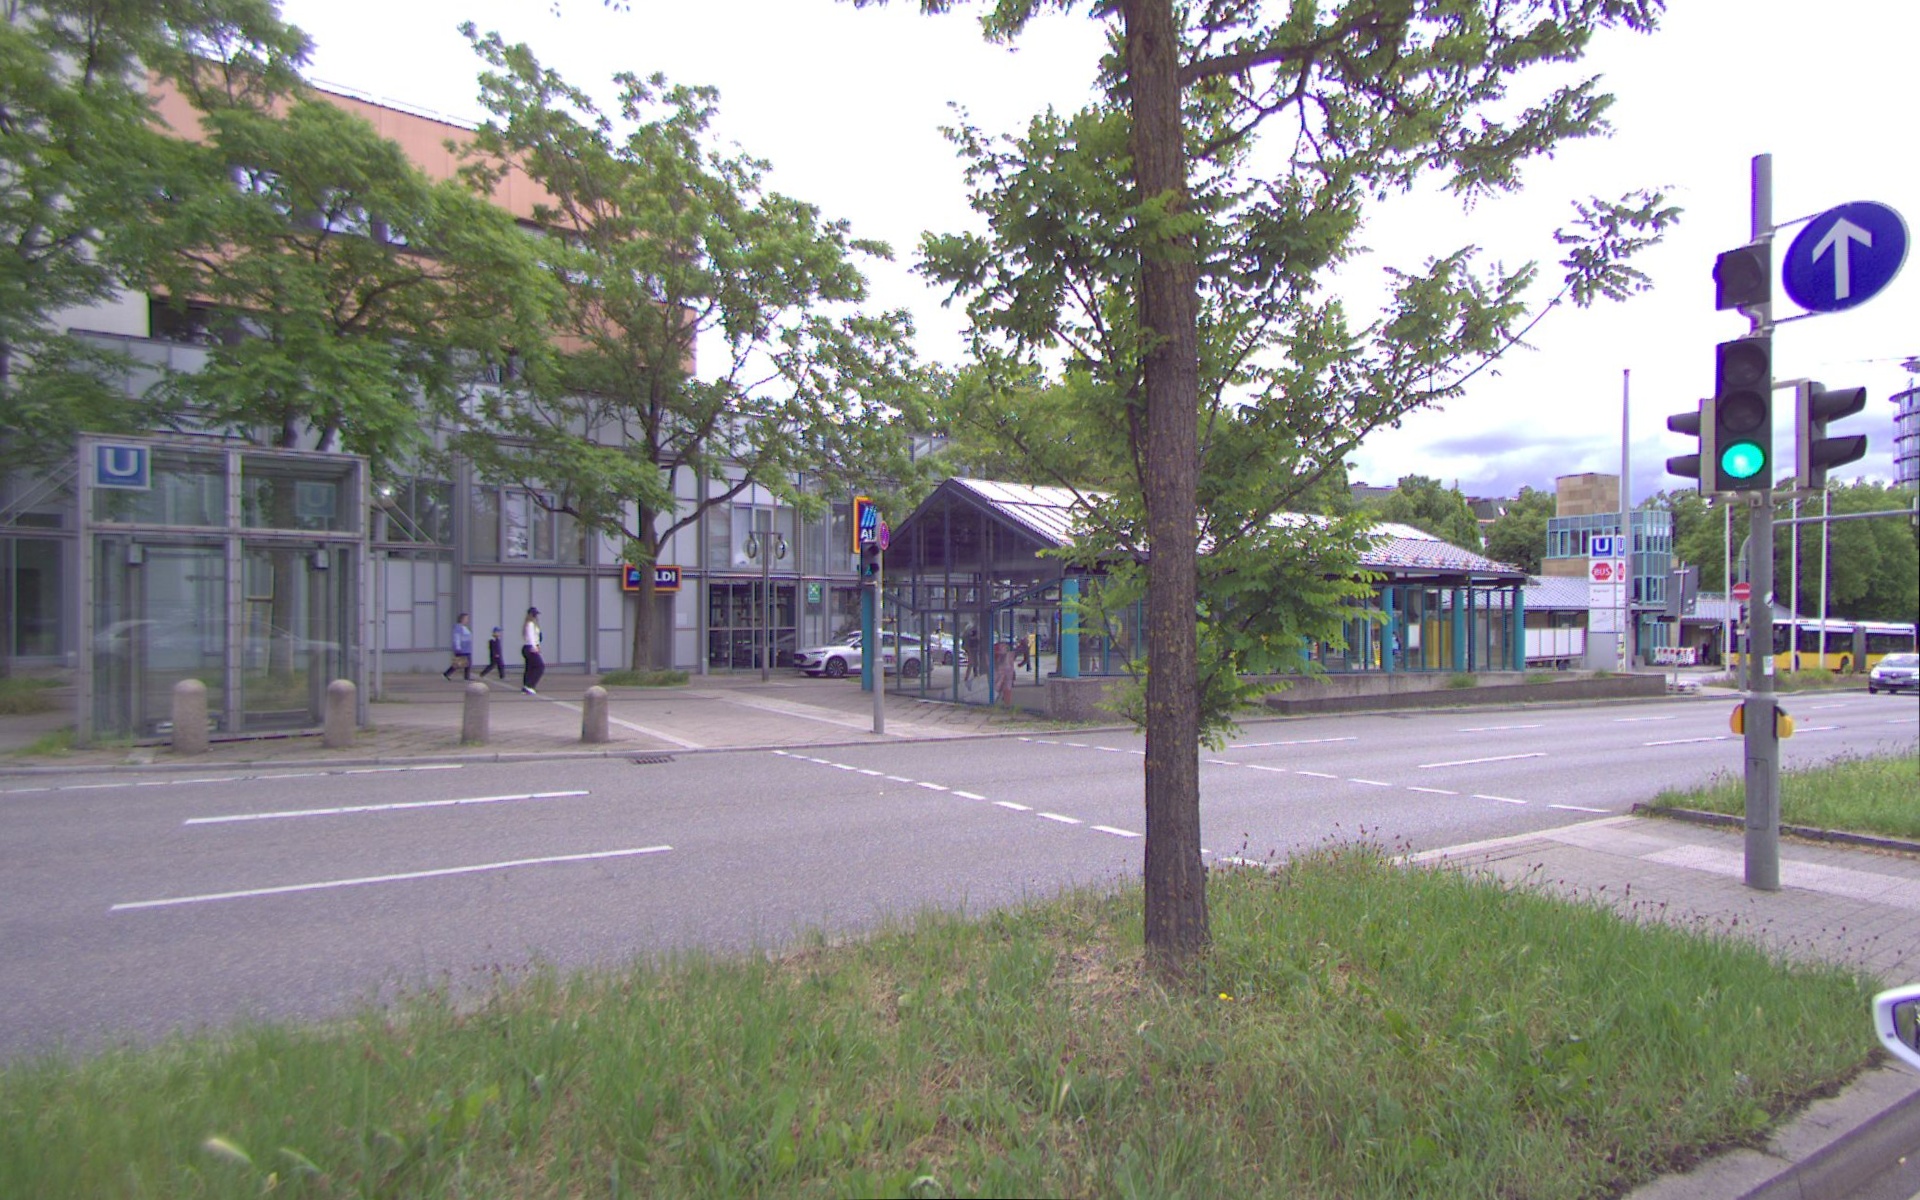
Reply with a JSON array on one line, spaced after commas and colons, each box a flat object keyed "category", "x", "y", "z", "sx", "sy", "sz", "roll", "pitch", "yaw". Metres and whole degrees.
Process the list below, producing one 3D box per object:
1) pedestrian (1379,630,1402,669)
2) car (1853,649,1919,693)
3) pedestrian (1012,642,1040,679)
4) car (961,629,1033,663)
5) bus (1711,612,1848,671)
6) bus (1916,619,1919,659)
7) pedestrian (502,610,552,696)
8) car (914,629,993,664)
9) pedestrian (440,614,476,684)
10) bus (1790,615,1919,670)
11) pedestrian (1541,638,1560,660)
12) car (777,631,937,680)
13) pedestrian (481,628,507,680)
[{"category": "pedestrian", "x": 18.695, "y": 2.134, "z": 43.610, "sx": 0.650, "sy": 1.671, "sz": 0.617, "roll": 2, "pitch": -2, "yaw": -30}, {"category": "car", "x": 35.973, "y": 2.683, "z": 38.266, "sx": 3.953, "sy": 1.528, "sz": 1.806, "roll": 2, "pitch": -2, "yaw": -30}, {"category": "pedestrian", "x": 2.678, "y": 2.465, "z": 40.883, "sx": 0.981, "sy": 1.480, "sz": 0.587, "roll": 2, "pitch": -1, "yaw": -32}, {"category": "car", "x": 2.061, "y": 2.581, "z": 56.922, "sx": 1.981, "sy": 1.706, "sz": 3.958, "roll": 2, "pitch": 0, "yaw": -37}, {"category": "bus", "x": 47.864, "y": 2.403, "z": 58.567, "sx": 9.319, "sy": 3.174, "sz": 2.764, "roll": 2, "pitch": 0, "yaw": -28}, {"category": "bus", "x": 82.665, "y": 3.294, "z": 82.967, "sx": 10.623, "sy": 3.205, "sz": 3.065, "roll": 2, "pitch": 0, "yaw": -33}, {"category": "pedestrian", "x": -8.822, "y": 1.071, "z": 20.461, "sx": 0.817, "sy": 1.702, "sz": 0.774, "roll": 2, "pitch": -2, "yaw": -30}, {"category": "car", "x": -0.371, "y": 2.273, "z": 49.516, "sx": 1.981, "sy": 1.617, "sz": 3.960, "roll": 2, "pitch": -2, "yaw": -36}, {"category": "pedestrian", "x": -11.483, "y": 1.119, "z": 22.956, "sx": 0.631, "sy": 1.567, "sz": 0.682, "roll": 2, "pitch": -2, "yaw": -32}, {"category": "bus", "x": 55.996, "y": 2.681, "z": 62.778, "sx": 9.178, "sy": 3.174, "sz": 2.799, "roll": 2, "pitch": 1, "yaw": -27}, {"category": "pedestrian", "x": 29.968, "y": 2.484, "z": 50.981, "sx": 0.650, "sy": 1.135, "sz": 0.617, "roll": 2, "pitch": -2, "yaw": -30}, {"category": "car", "x": -3.160, "y": 1.712, "z": 31.257, "sx": 4.666, "sy": 1.418, "sz": 1.681, "roll": 2, "pitch": -2, "yaw": -30}, {"category": "pedestrian", "x": -11.013, "y": 1.263, "z": 23.737, "sx": 0.508, "sy": 1.208, "sz": 0.380, "roll": 2, "pitch": -2, "yaw": -30}]
